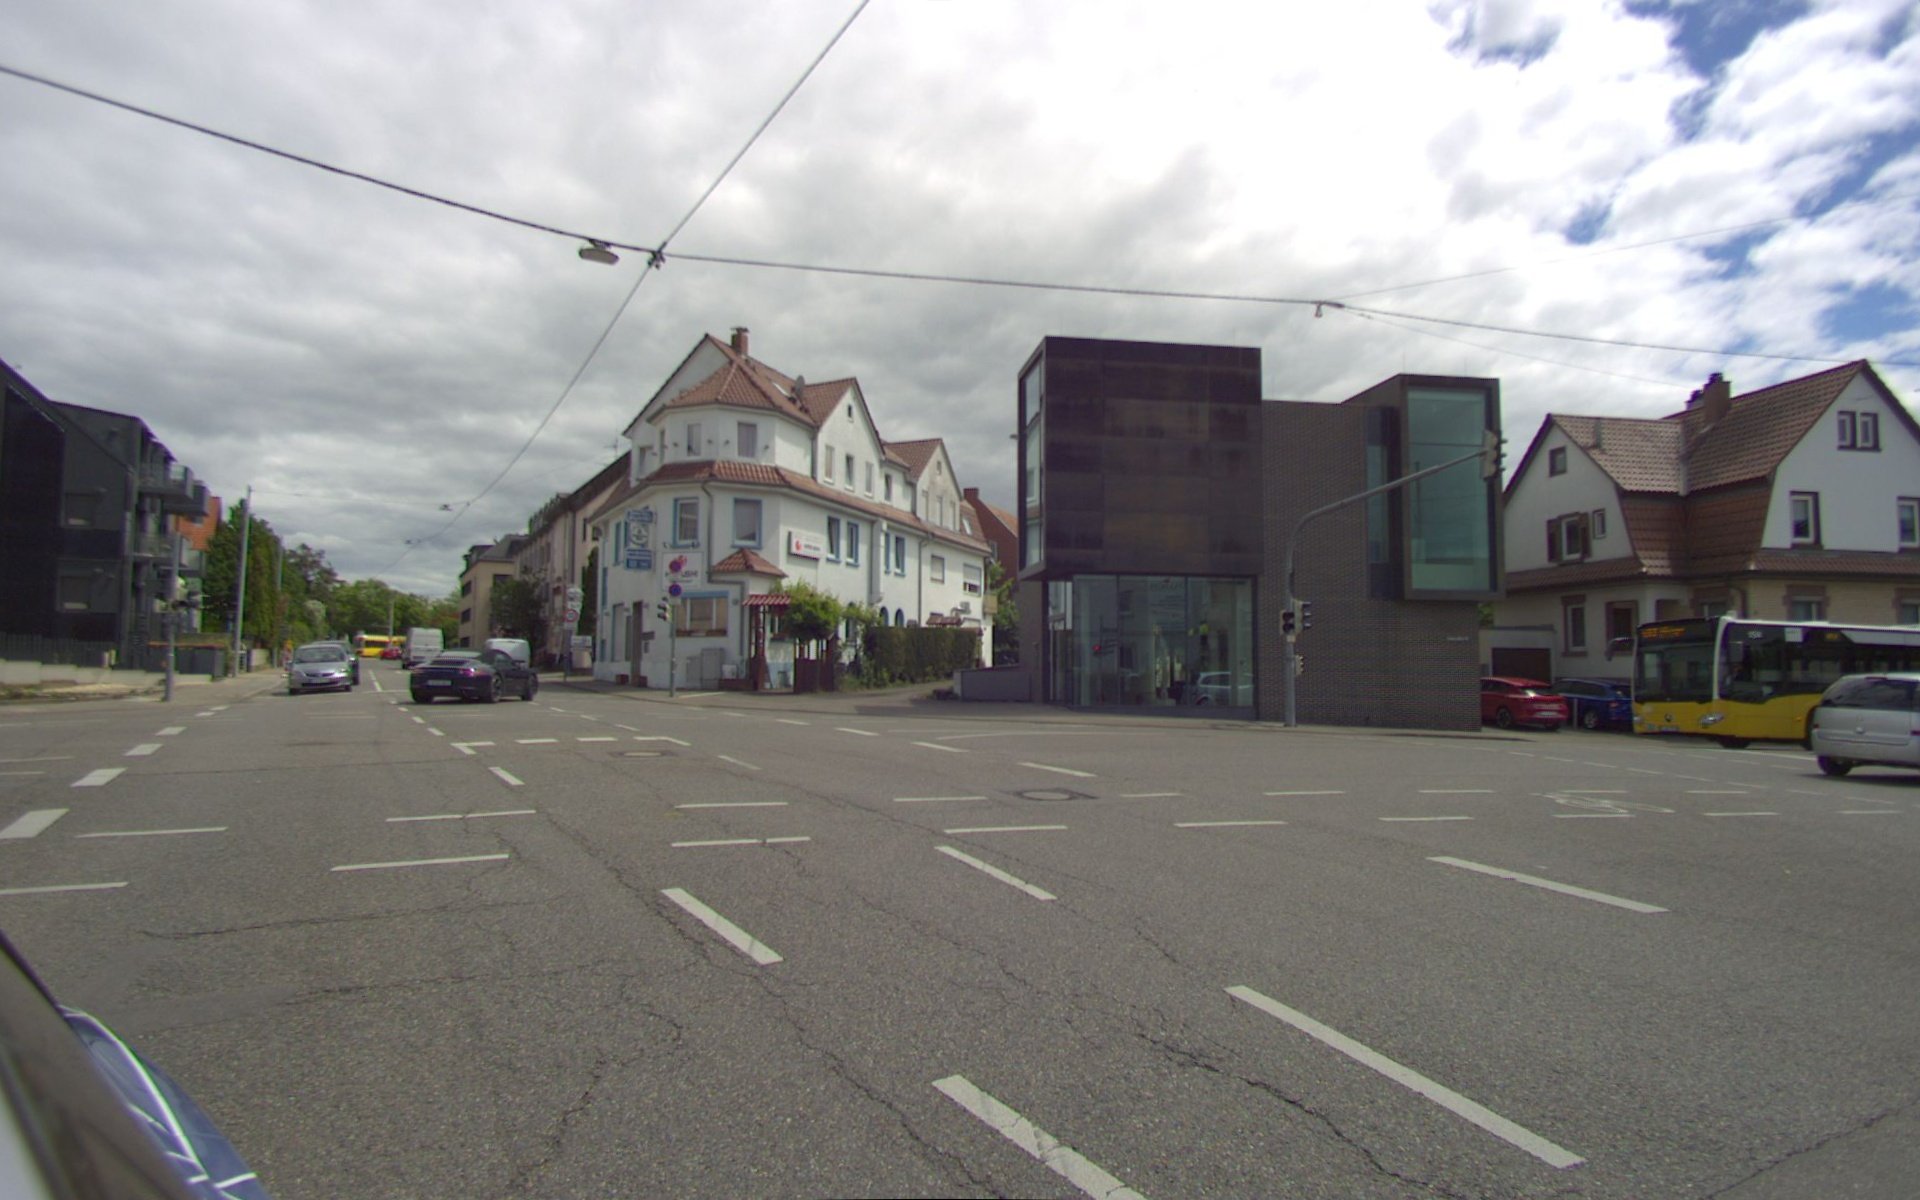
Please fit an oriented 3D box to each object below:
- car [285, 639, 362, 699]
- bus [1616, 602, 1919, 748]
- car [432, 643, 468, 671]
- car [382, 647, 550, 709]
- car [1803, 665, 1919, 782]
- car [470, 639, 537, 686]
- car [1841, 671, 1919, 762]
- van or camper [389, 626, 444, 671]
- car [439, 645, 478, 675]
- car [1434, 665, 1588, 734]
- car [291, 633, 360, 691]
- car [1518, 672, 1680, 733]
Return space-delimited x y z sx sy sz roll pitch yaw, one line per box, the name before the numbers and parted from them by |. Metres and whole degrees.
car | -20.203 2.135 32.212 1.966 1.697 4.011 -1 -2 -31
bus | 20.628 1.795 23.821 9.044 3.084 2.792 2 -3 -8
car | -38.386 4.289 76.113 1.966 2.029 4.011 3 -4 -33
car | -11.625 1.817 24.194 1.971 1.292 4.304 1 -3 -2
car | 14.953 1.846 15.101 3.933 1.587 1.780 3 -4 -18
car | -18.864 2.584 41.726 1.791 1.826 4.430 4 -5 -33
car | 19.666 2.252 19.409 3.937 1.652 2.003 2 -3 -7
van or camper | -34.284 3.112 63.777 2.079 2.606 5.658 7 -6 -36
car | -35.556 4.252 71.736 1.966 2.029 4.011 3 -4 -33
car | 16.615 2.960 30.773 1.967 1.652 4.009 2 0 -11
car | -23.521 2.285 37.579 1.966 2.029 4.011 3 -4 -31
car | 19.503 3.097 31.116 1.967 1.697 4.009 2 -4 -11
